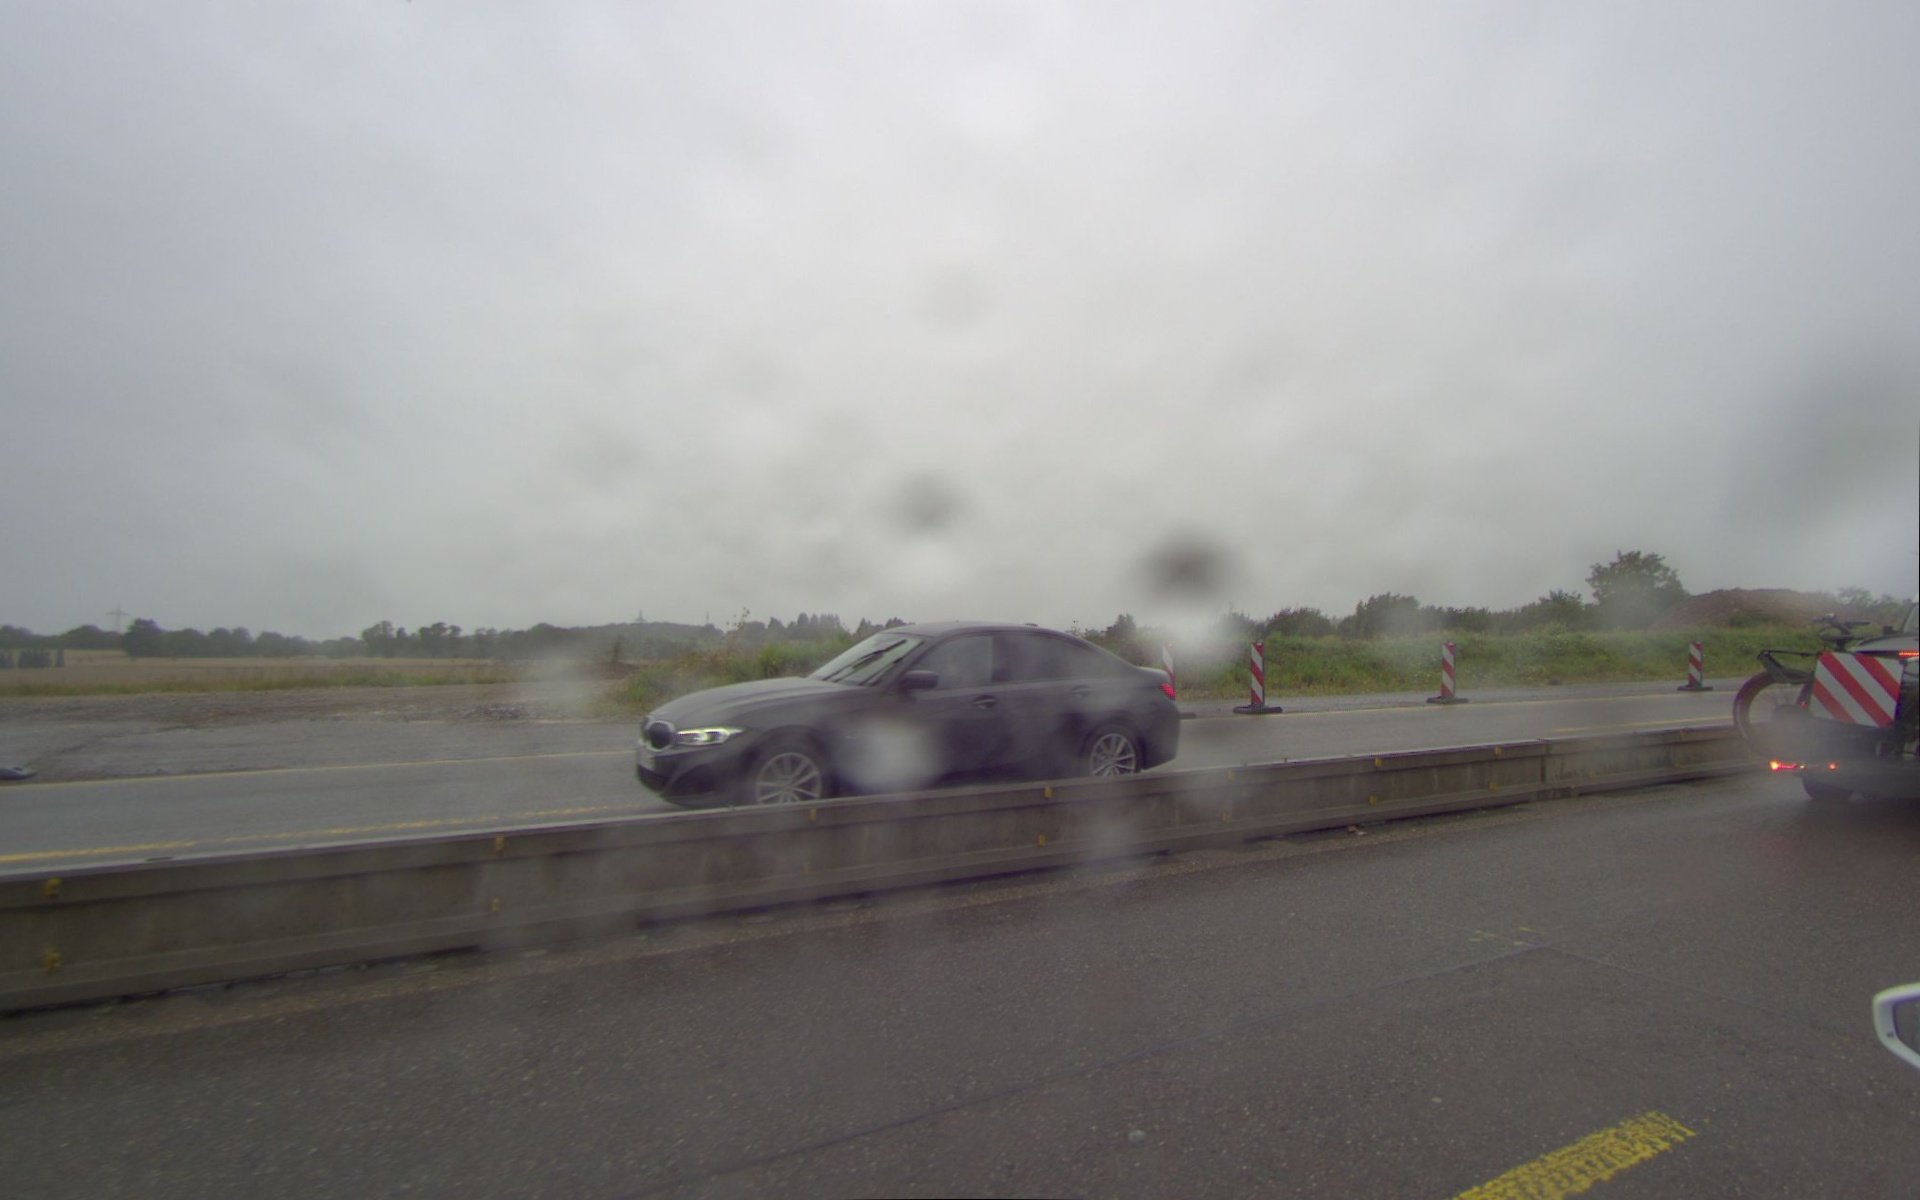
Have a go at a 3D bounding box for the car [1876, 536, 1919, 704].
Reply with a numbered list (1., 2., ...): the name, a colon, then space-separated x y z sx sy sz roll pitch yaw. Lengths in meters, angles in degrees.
1. car: 20.955 0.443 19.948 7.085 3.086 1.984 1 0 -30

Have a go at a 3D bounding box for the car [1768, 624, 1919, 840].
1. car: 9.302 0.973 8.719 5.562 1.482 1.726 0 0 -30

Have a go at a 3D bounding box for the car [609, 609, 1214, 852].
1. car: -0.264 0.872 8.221 4.694 1.515 1.739 1 -1 -30
